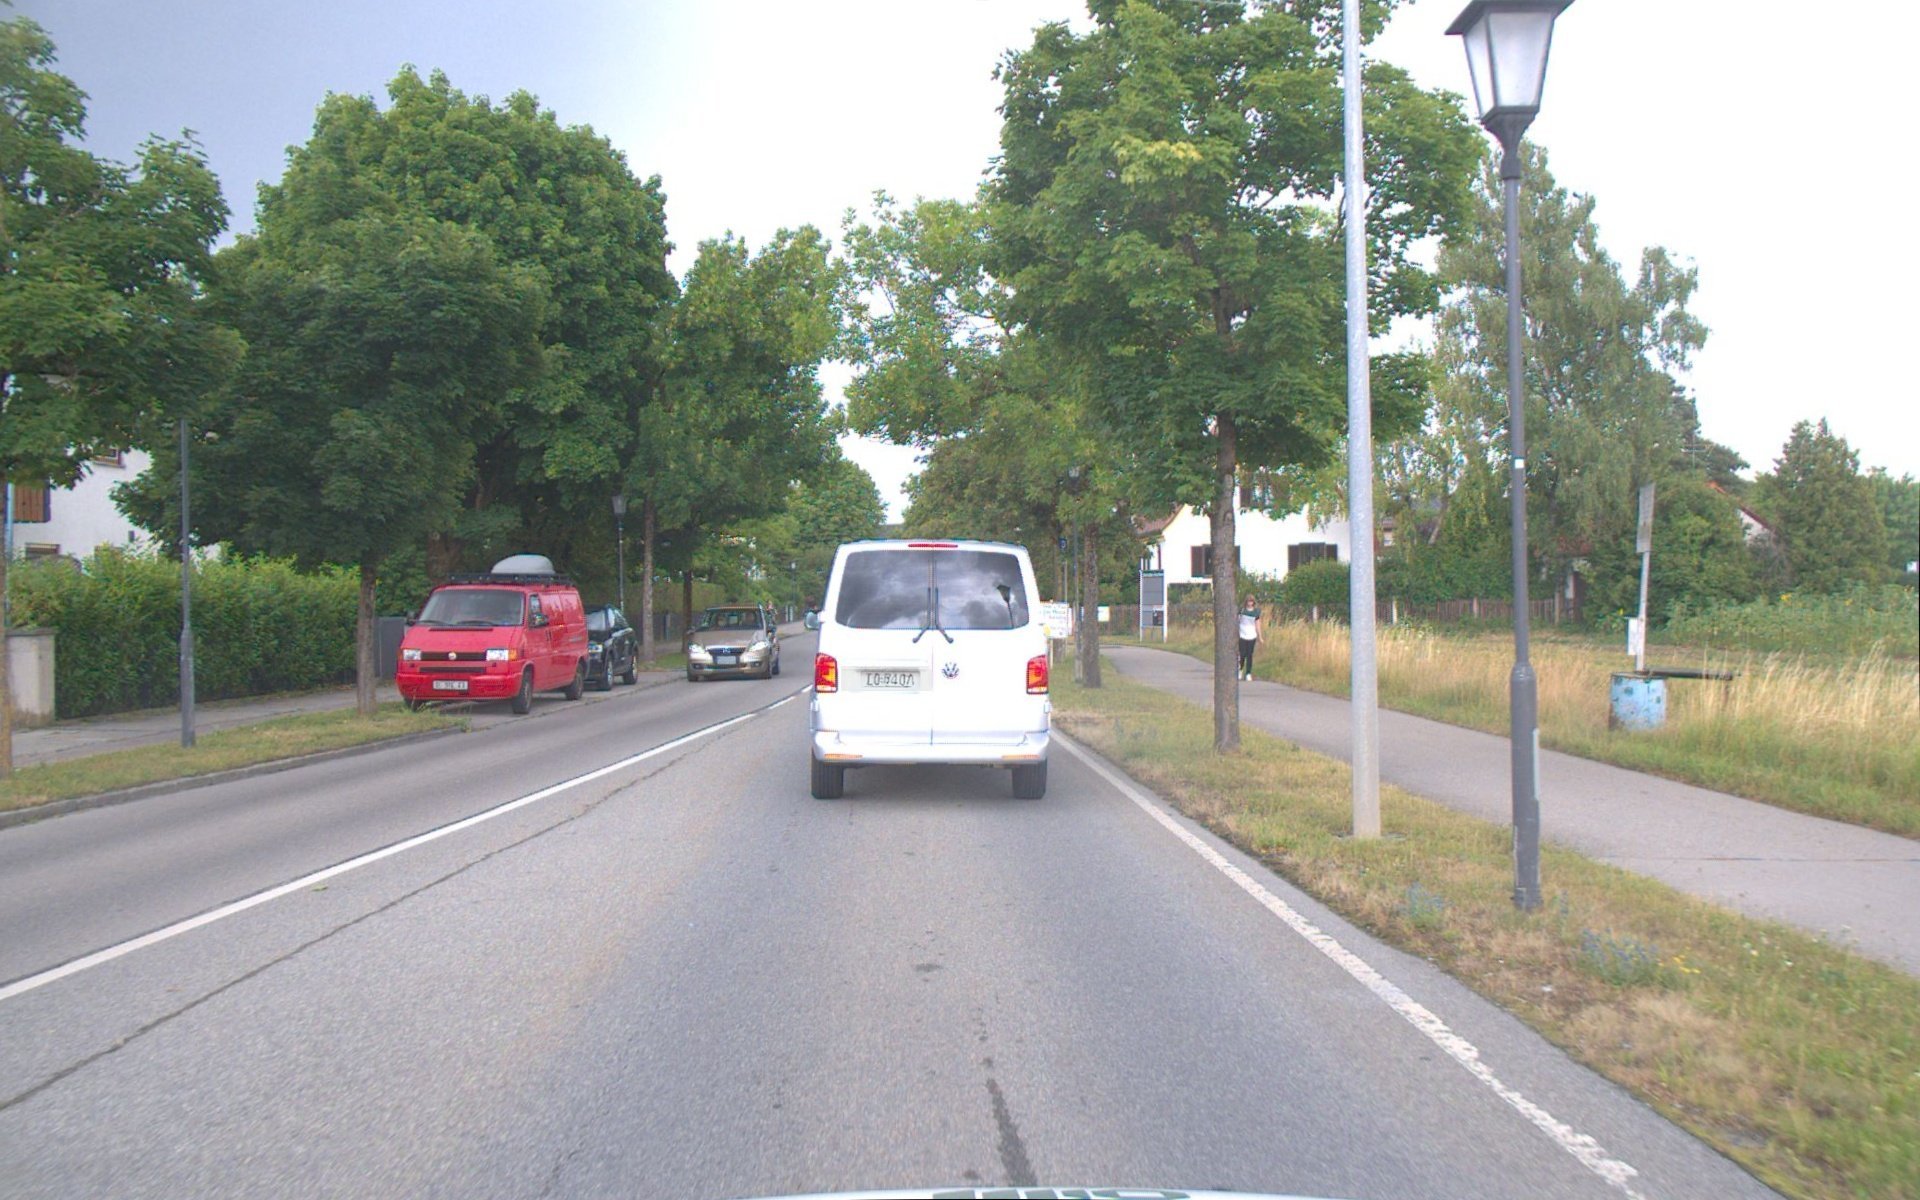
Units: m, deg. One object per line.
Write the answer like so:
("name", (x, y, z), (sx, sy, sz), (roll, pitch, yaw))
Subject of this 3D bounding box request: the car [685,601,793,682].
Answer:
("car", (-4.694, 0.843, 35.566), (1.672, 1.559, 3.508), (-2, 0, 2))

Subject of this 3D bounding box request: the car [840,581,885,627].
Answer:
("car", (-4.540, 0.193, 77.368), (1.953, 2.049, 3.999), (1, 0, -2))

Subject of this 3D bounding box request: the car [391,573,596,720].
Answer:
("car", (-7.165, 0.648, 25.962), (1.792, 2.066, 5.045), (1, 0, -1))

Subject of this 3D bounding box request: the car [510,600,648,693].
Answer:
("car", (-7.248, 0.833, 31.857), (1.735, 1.626, 4.237), (0, 0, -1))

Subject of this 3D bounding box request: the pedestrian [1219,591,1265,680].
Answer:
("pedestrian", (5.685, 0.706, 33.326), (0.820, 1.785, 0.870), (0, 0, 3))

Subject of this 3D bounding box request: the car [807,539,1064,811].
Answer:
("car", (-0.235, 0.543, 13.871), (1.850, 1.945, 3.998), (0, 0, -2))

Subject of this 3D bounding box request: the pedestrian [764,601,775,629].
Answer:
("pedestrian", (-11.042, 0.856, 95.757), (0.610, 1.576, 0.522), (1, -1, -5))
